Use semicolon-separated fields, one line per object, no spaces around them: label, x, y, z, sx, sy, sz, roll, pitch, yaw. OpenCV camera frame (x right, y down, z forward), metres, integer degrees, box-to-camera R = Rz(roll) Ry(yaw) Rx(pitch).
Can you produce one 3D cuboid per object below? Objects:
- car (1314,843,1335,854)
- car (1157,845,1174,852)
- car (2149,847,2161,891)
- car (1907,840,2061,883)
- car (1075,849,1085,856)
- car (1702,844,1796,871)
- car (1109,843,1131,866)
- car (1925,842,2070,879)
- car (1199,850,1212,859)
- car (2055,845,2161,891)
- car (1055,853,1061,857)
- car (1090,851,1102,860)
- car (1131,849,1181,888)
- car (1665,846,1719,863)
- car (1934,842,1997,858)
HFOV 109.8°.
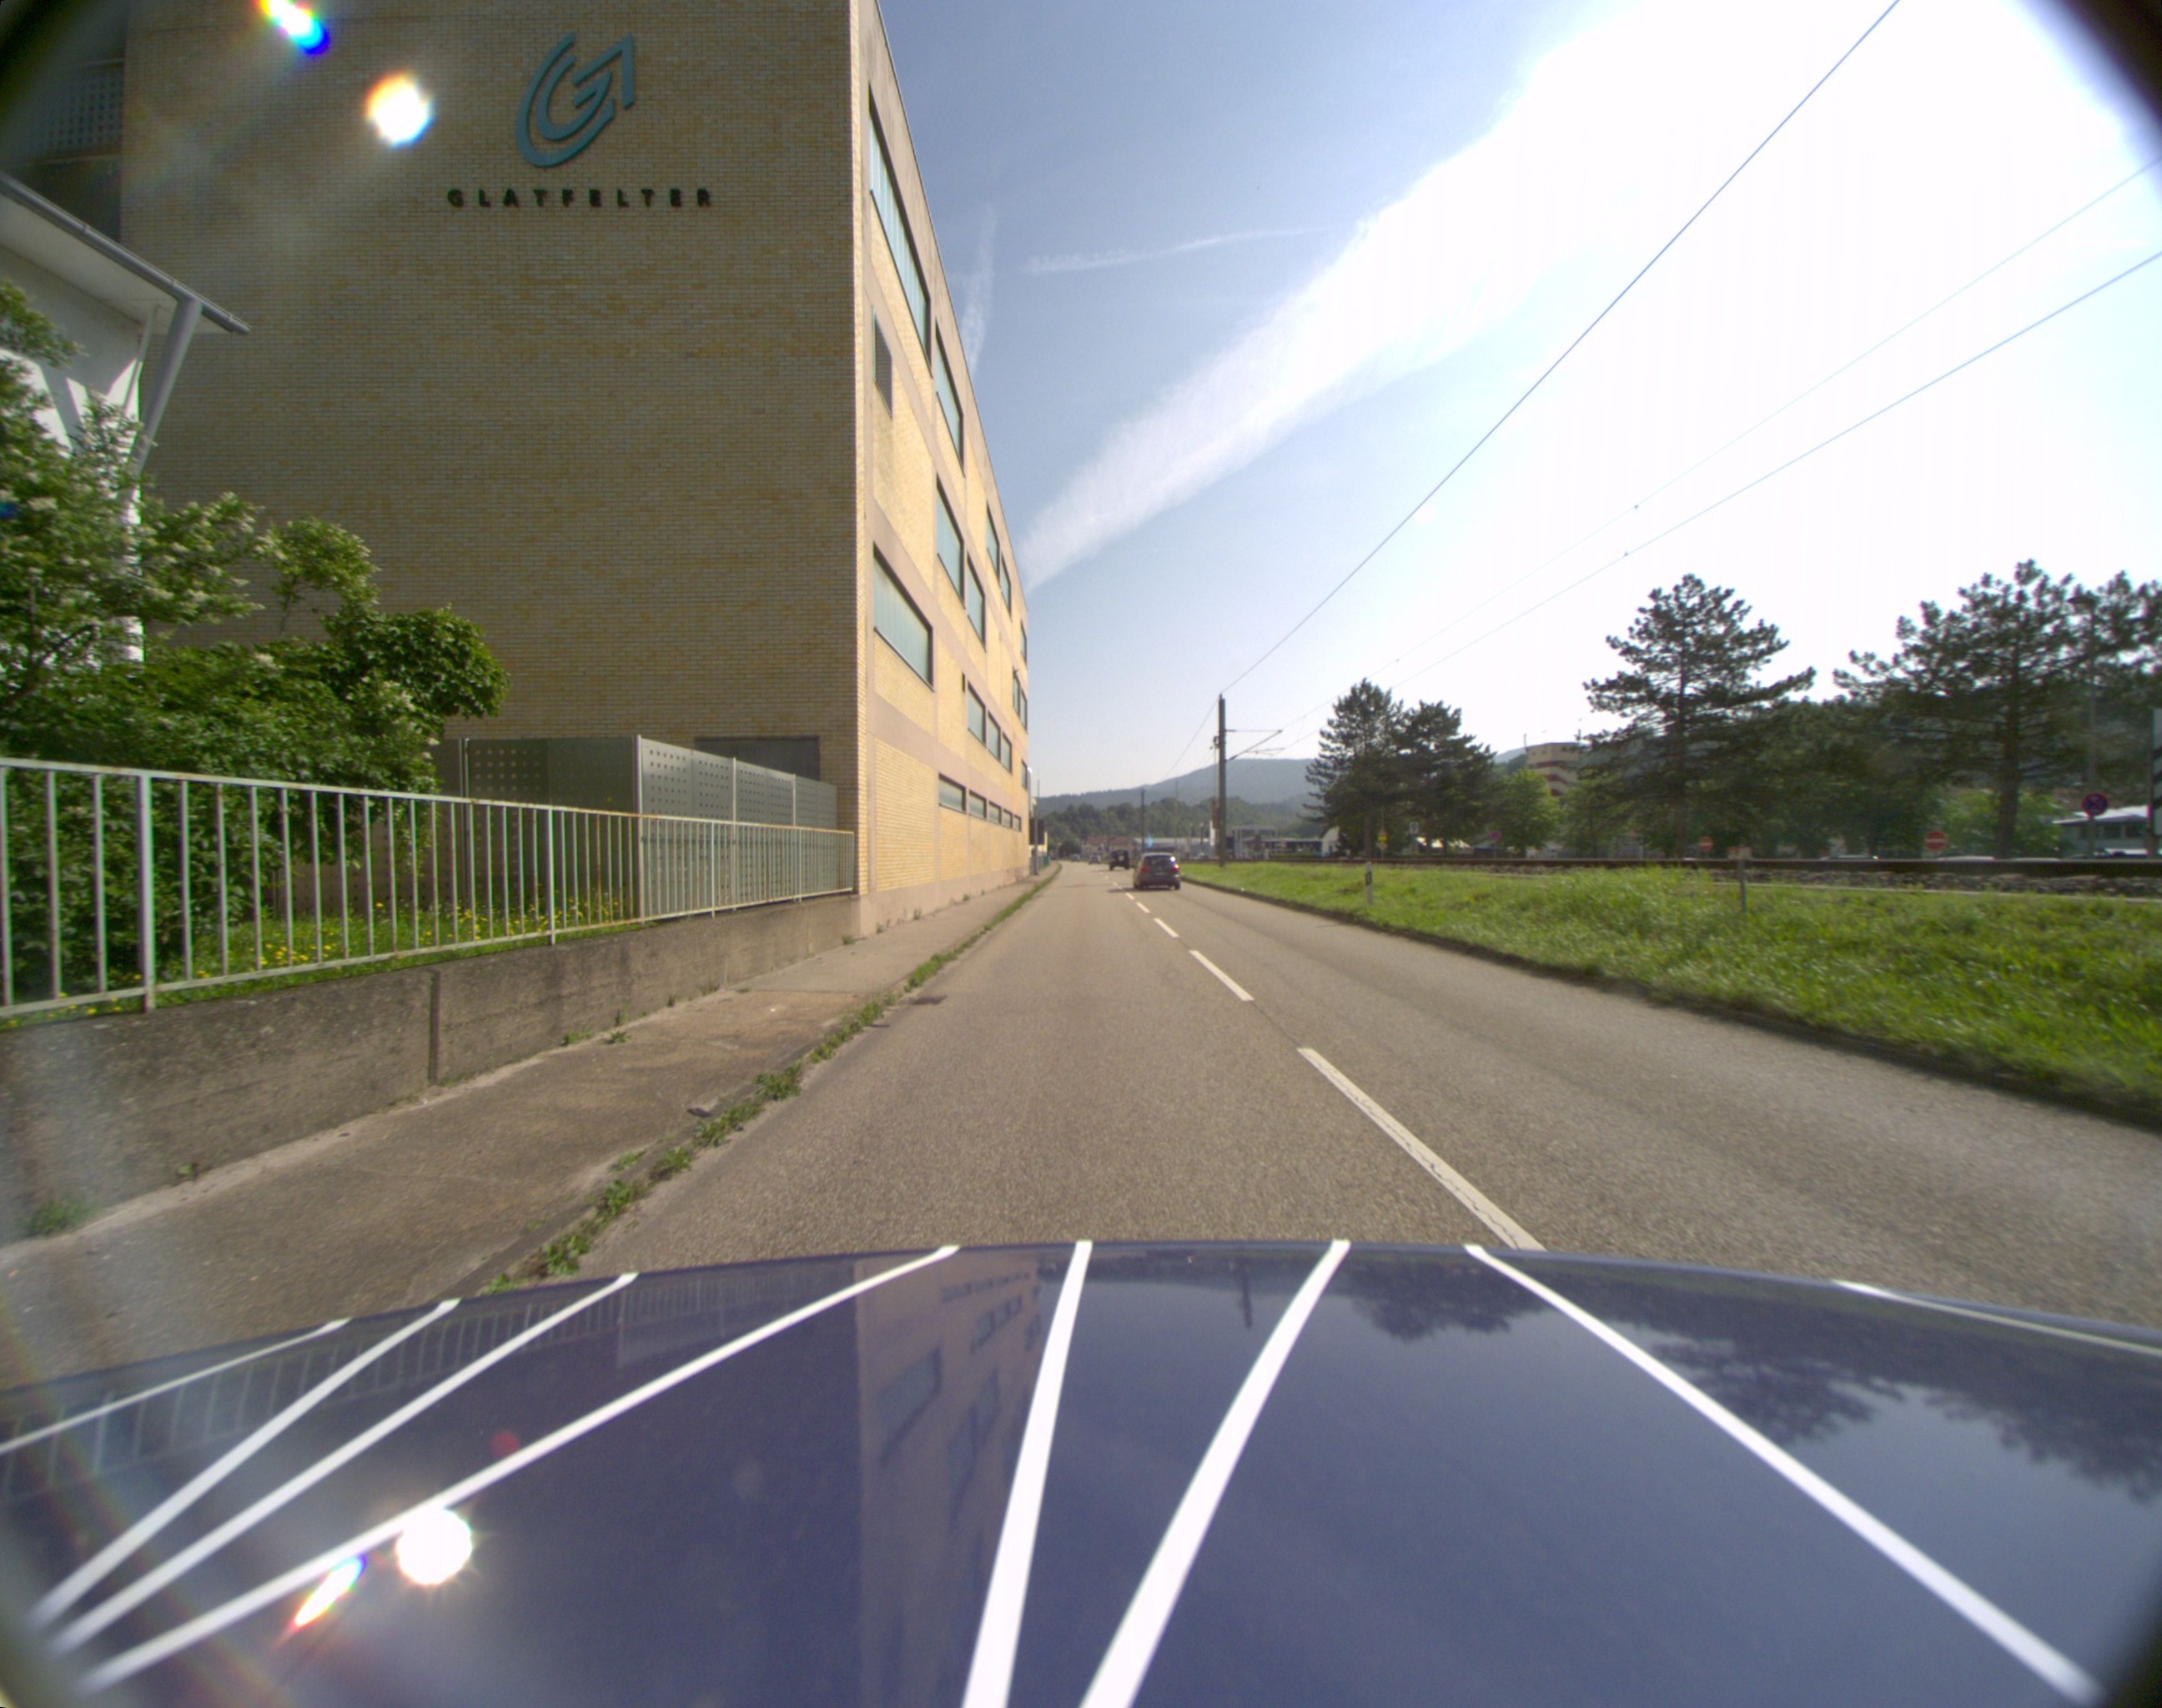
car;29.491;-0.651;92.057;1.394;1.344;2.893;0;1;-4
car;21.996;-1.440;197.751;3.968;1.519;1.662;-4;1;-7
car;32.415;0.464;21.468;1.560;1.317;3.865;0;1;39
car;36.048;0.265;30.500;1.691;1.633;3.841;-1;1;-44
car;-0.171;-0.288;180.624;1.912;1.591;4.567;-1;1;-5
car;37.381;0.189;42.571;1.691;1.435;3.841;-1;1;-44
car;3.680;0.053;72.272;1.763;2.066;4.807;-2;1;-1
car;38.947;0.251;32.449;1.691;1.498;3.841;-1;1;-44
car;26.877;0.116;164.510;1.523;1.679;4.367;-2;1;-7
car;33.000;0.401;24.478;1.515;1.350;3.528;1;1;44
car;-7.692;0.384;251.503;1.769;1.395;4.117;-1;0;-7
car;2.497;0.258;124.874;1.772;1.397;4.295;0;1;-1
car;3.160;0.558;32.655;1.735;1.517;4.092;-2;1;1
car;59.009;0.021;73.488;1.684;1.539;3.996;0;1;-9
car;86.792;-0.419;74.594;1.495;1.472;3.850;0;1;-7
